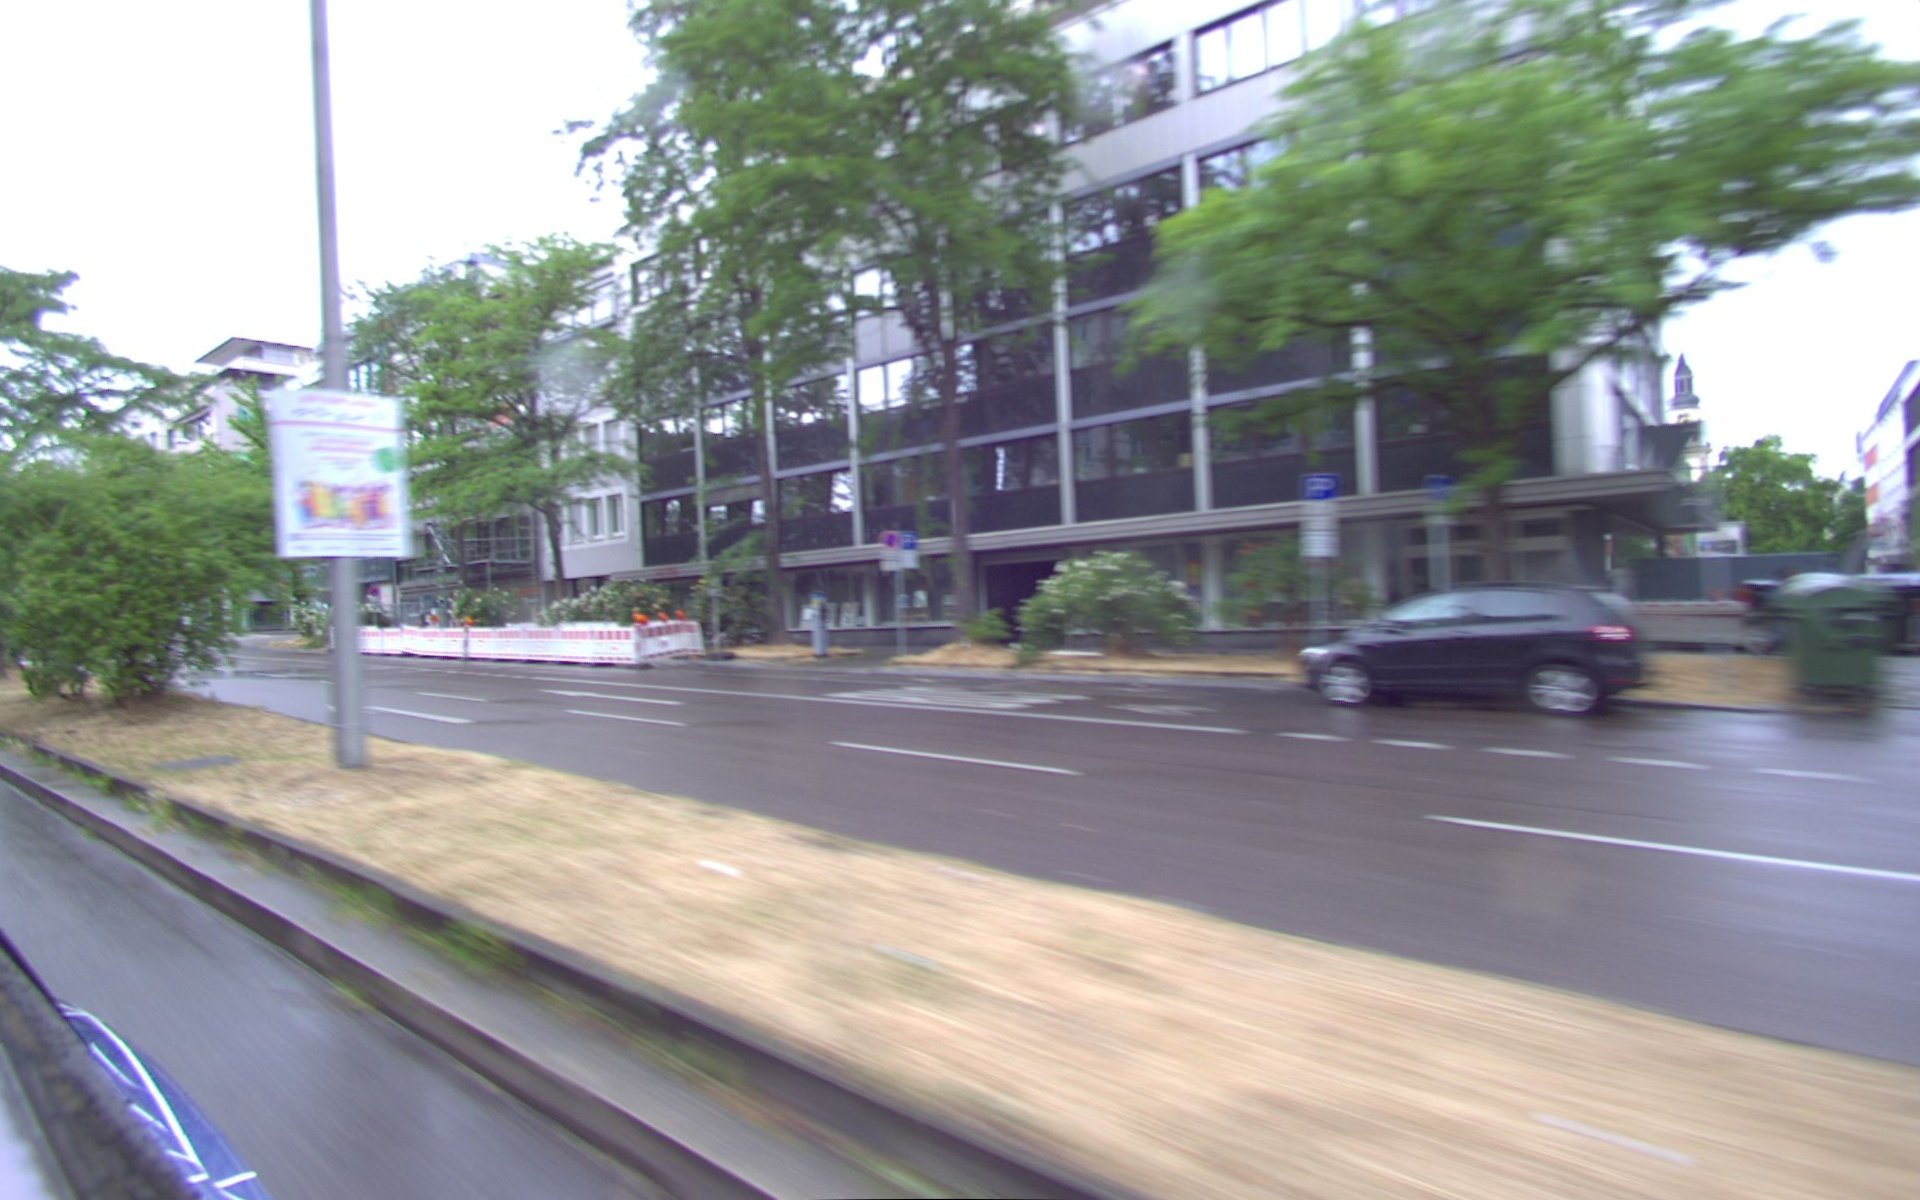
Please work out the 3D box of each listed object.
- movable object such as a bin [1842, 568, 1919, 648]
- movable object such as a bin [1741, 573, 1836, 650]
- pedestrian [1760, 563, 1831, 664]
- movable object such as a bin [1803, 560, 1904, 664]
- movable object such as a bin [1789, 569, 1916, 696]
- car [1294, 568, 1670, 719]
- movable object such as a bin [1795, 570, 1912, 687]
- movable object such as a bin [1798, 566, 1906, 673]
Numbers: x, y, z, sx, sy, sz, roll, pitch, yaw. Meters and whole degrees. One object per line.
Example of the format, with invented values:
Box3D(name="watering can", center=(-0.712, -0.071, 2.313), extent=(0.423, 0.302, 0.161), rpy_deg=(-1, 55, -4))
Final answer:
Box3D(name="movable object such as a bin", center=(17.341, 0.139, 18.791), extent=(1.279, 1.446, 1.076), rpy_deg=(-1, 0, 34))
Box3D(name="movable object such as a bin", center=(16.084, 0.219, 19.691), extent=(1.279, 1.446, 1.076), rpy_deg=(-1, 0, 34))
Box3D(name="pedestrian", center=(14.558, 0.229, 17.657), extent=(0.895, 1.701, 0.860), rpy_deg=(-1, 0, 39))
Box3D(name="movable object such as a bin", center=(13.570, 0.170, 15.374), extent=(1.088, 1.499, 1.264), rpy_deg=(-1, 0, 43))
Box3D(name="movable object such as a bin", center=(10.822, 0.365, 12.283), extent=(1.088, 1.437, 1.344), rpy_deg=(-1, 0, 43))
Box3D(name="car", center=(6.624, 0.498, 13.069), extent=(4.021, 1.648, 1.760), rpy_deg=(-1, 0, 40))
Box3D(name="movable object such as a bin", center=(11.772, 0.350, 13.341), extent=(1.088, 1.437, 1.264), rpy_deg=(-1, 0, 43))
Box3D(name="movable object such as a bin", center=(12.644, 0.257, 14.354), extent=(1.088, 1.437, 1.264), rpy_deg=(-1, 0, 43))
